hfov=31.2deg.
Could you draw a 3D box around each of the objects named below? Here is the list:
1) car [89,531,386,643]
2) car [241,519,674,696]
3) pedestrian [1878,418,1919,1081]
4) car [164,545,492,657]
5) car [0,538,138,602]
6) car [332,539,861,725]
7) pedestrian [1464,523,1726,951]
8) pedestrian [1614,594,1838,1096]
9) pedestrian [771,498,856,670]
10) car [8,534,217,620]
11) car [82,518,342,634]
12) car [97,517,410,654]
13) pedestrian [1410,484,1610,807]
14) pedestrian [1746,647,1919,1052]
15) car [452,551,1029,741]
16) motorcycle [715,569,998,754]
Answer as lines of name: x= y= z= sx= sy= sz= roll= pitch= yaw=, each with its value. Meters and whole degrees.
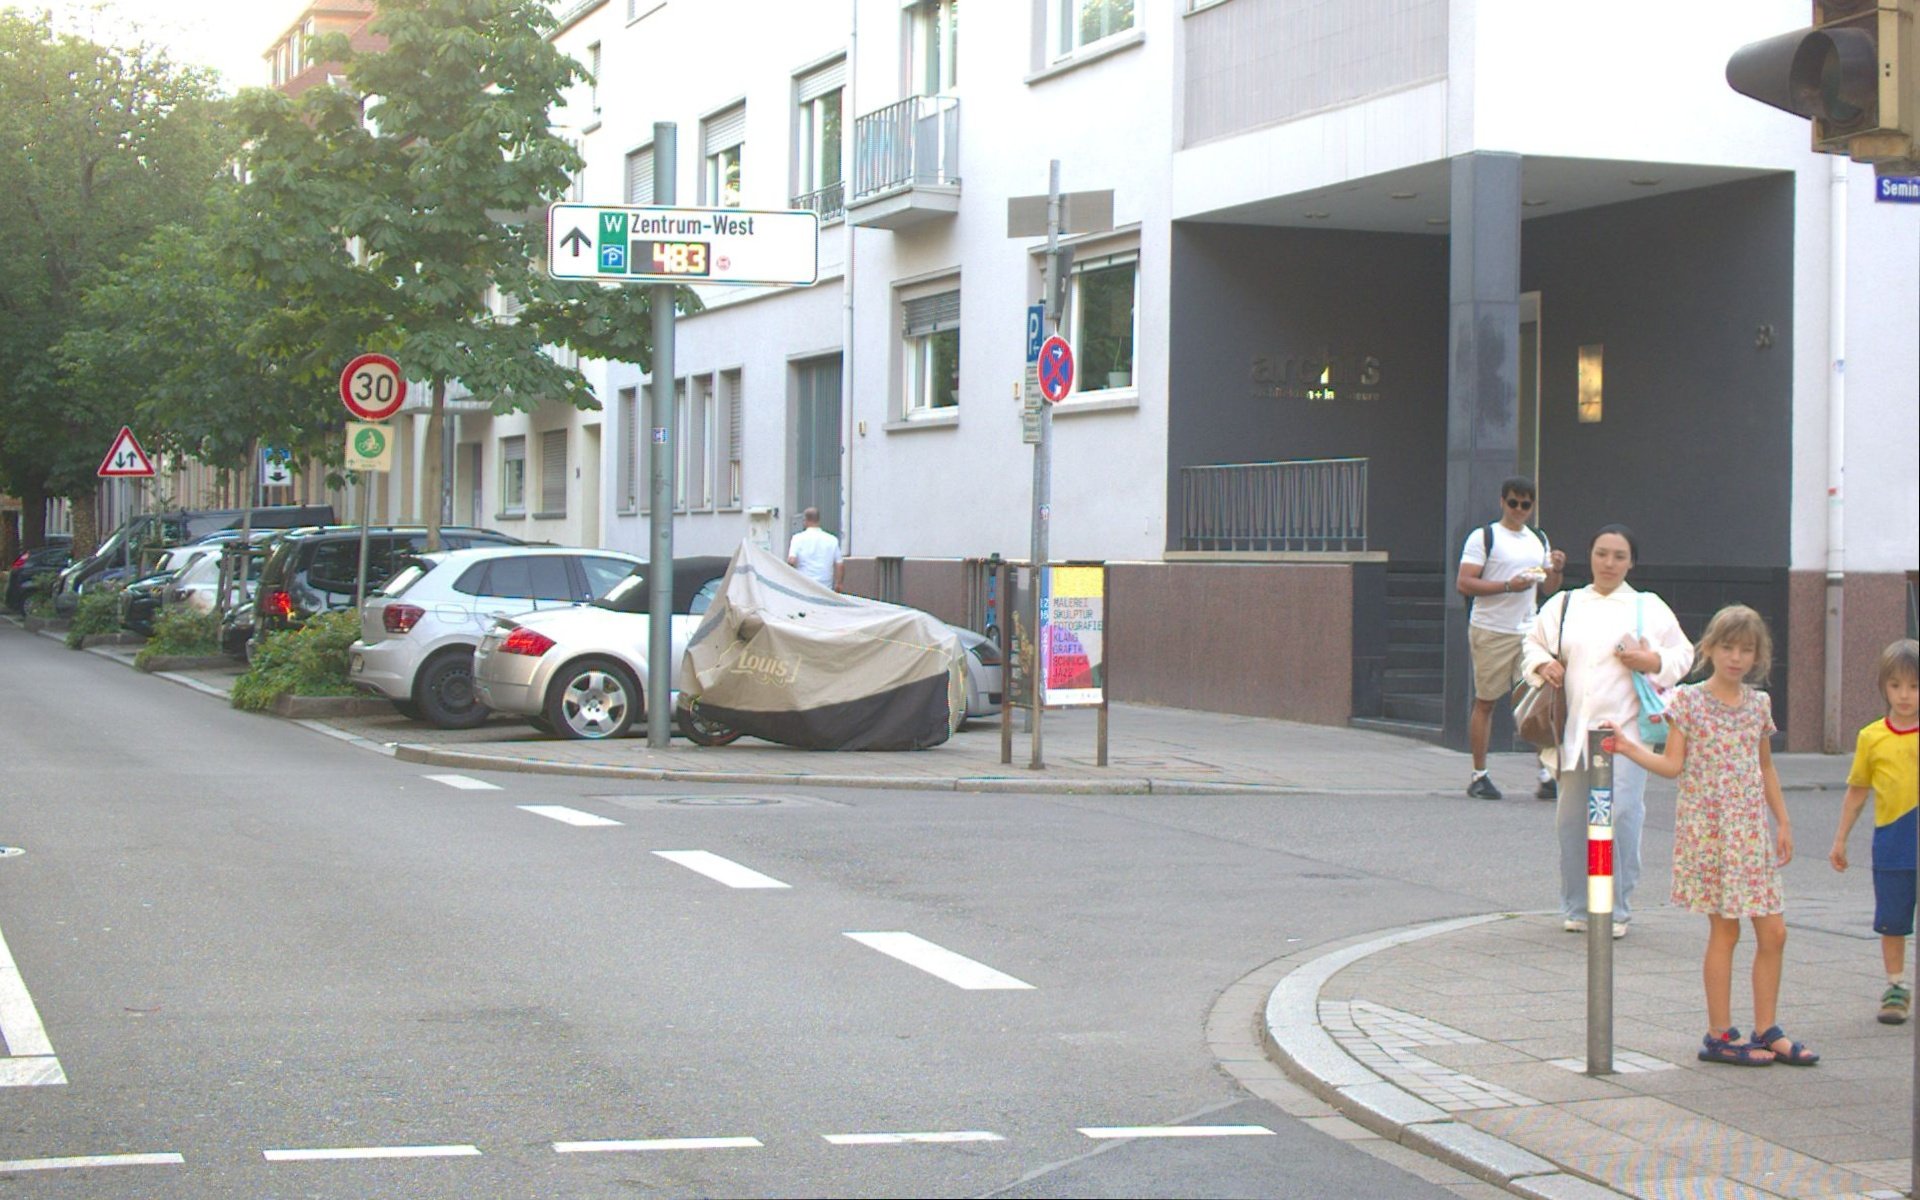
car: x=-10.440 y=-0.191 z=49.659 sx=4.013 sy=1.525 sz=1.707 roll=1 pitch=1 yaw=-18
car: x=-4.998 y=0.055 z=34.128 sx=4.013 sy=1.684 sz=1.707 roll=0 pitch=1 yaw=-18
pedestrian: x=3.059 y=0.398 z=9.643 sx=0.889 sy=1.809 sz=0.793 roll=1 pitch=3 yaw=16
car: x=-8.267 y=0.002 z=44.925 sx=4.013 sy=1.404 sz=1.707 roll=0 pitch=1 yaw=-18
car: x=-26.577 y=-0.884 z=102.216 sx=4.013 sy=1.824 sz=1.707 roll=1 pitch=1 yaw=-18
car: x=-2.980 y=0.234 z=28.049 sx=4.013 sy=1.437 sz=1.707 roll=0 pitch=1 yaw=-18
pedestrian: x=2.322 y=0.473 z=12.523 sx=0.775 sy=1.496 sz=0.801 roll=0 pitch=1 yaw=23
pedestrian: x=2.113 y=0.659 z=9.531 sx=0.505 sy=1.331 sz=0.541 roll=1 pitch=1 yaw=5
pedestrian: x=-1.517 y=-0.169 z=35.551 sx=0.703 sy=1.746 sz=0.700 roll=1 pitch=1 yaw=-14
car: x=-16.902 y=-0.463 z=68.715 sx=3.977 sy=1.572 sz=1.911 roll=2 pitch=0 yaw=-12
car: x=-12.341 y=-0.394 z=56.685 sx=4.013 sy=1.824 sz=1.707 roll=1 pitch=1 yaw=-18
car: x=-9.641 y=-0.213 z=46.869 sx=4.013 sy=1.809 sz=1.707 roll=0 pitch=1 yaw=-18
pedestrian: x=3.203 y=0.254 z=20.092 sx=0.766 sy=1.835 sz=0.944 roll=1 pitch=1 yaw=-17
pedestrian: x=2.847 y=0.723 z=10.250 sx=0.565 sy=1.117 sz=0.837 roll=-1 pitch=2 yaw=-29
car: x=-1.662 y=0.315 z=25.749 sx=4.013 sy=1.338 sz=1.707 roll=0 pitch=1 yaw=-18
motorcycle: x=-0.689 y=0.398 z=22.673 sx=1.799 sy=1.195 sz=0.613 roll=0 pitch=1 yaw=-9
